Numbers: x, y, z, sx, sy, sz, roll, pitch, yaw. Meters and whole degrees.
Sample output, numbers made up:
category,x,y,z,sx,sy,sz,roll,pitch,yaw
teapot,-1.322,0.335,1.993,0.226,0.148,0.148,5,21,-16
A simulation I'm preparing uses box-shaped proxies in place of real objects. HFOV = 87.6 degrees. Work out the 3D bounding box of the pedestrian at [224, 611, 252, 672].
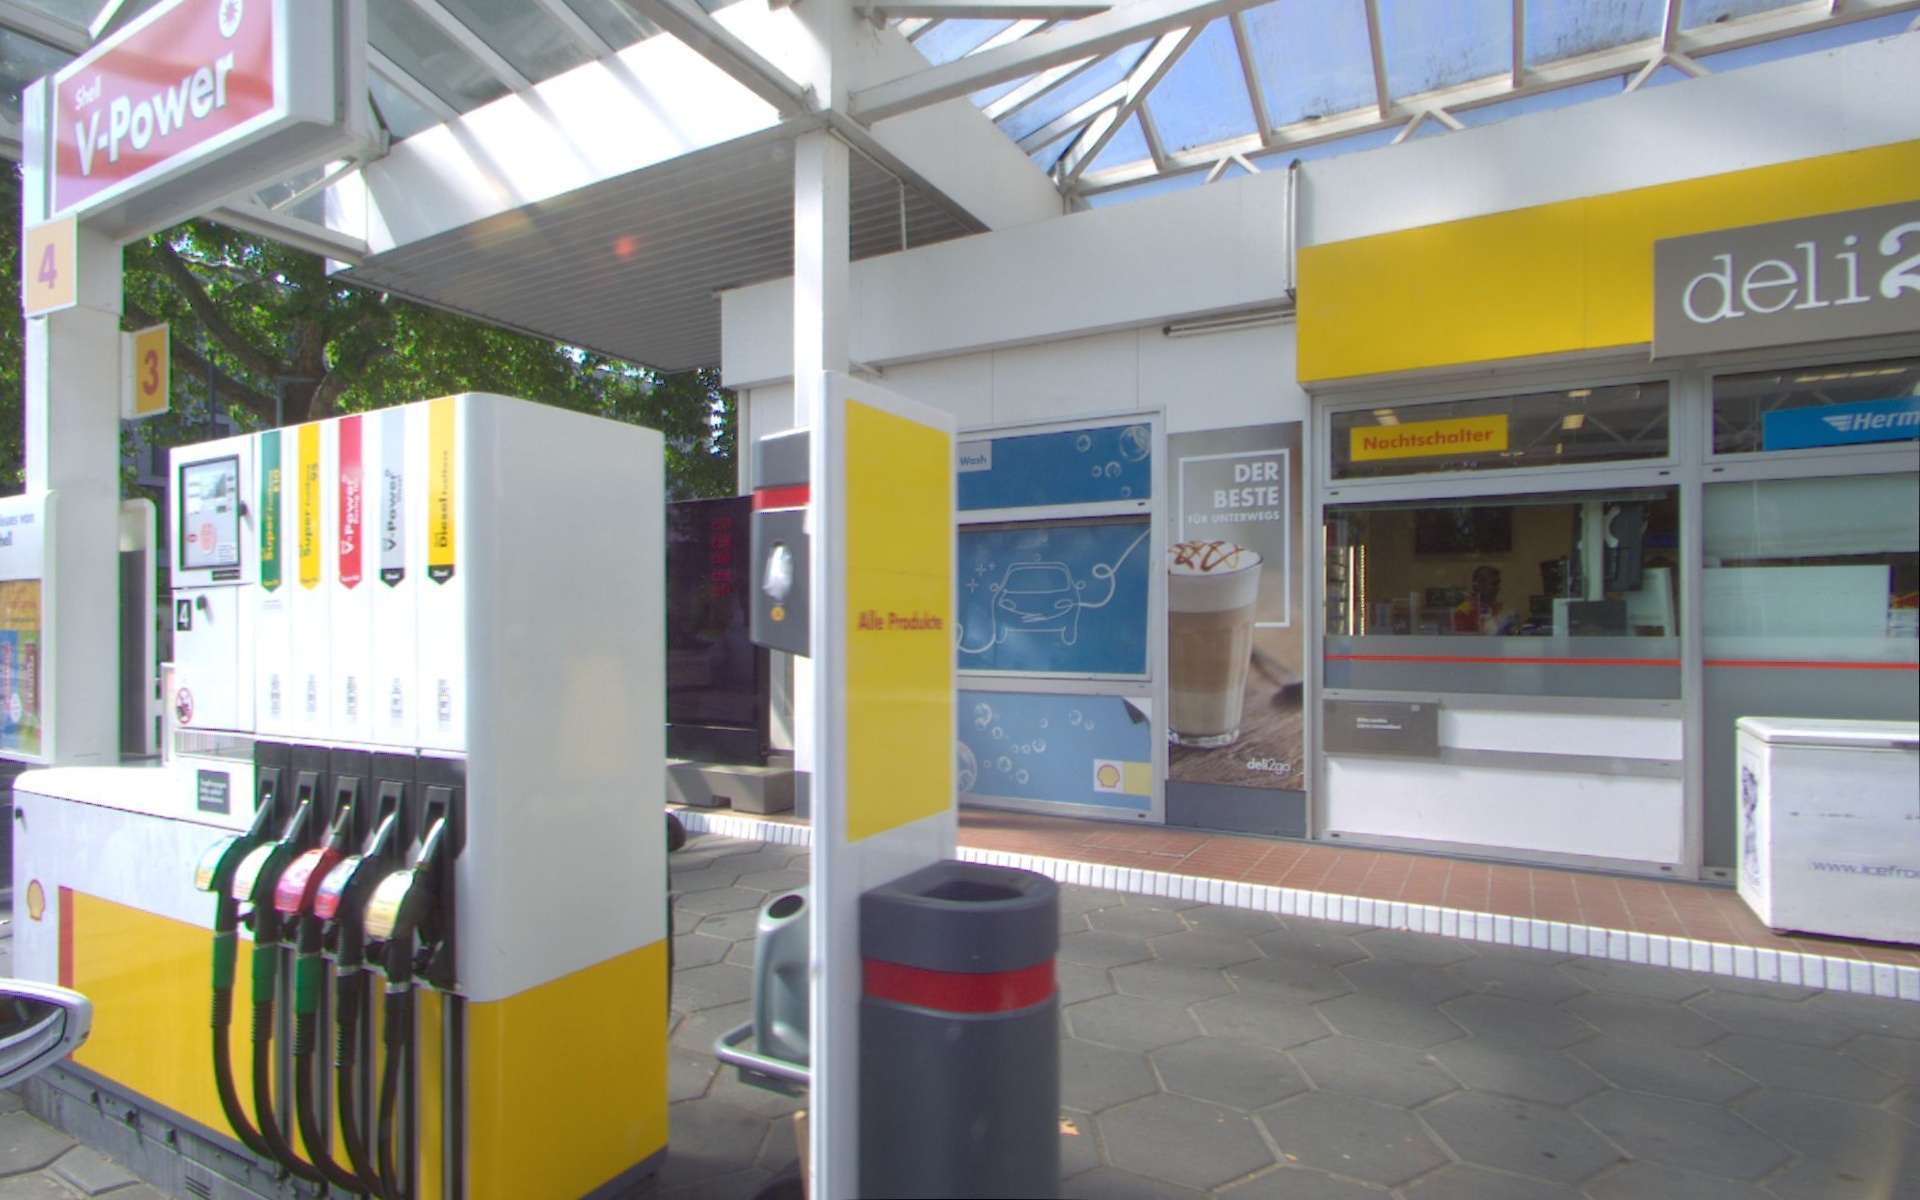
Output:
category,x,y,z,sx,sy,sz,roll,pitch,yaw
pedestrian,-21.013,1.198,29.156,0.516,1.758,0.498,0,-1,32

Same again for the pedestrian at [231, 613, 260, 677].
category,x,y,z,sx,sy,sz,roll,pitch,yaw
pedestrian,-19.975,1.244,28.012,0.516,1.758,0.498,0,-1,32

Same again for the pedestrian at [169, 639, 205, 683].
category,x,y,z,sx,sy,sz,roll,pitch,yaw
pedestrian,-20.747,1.624,26.880,0.517,1.152,0.626,0,-1,36

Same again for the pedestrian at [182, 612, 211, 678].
category,x,y,z,sx,sy,sz,roll,pitch,yaw
pedestrian,-20.681,1.211,27.130,0.400,1.758,0.498,0,-1,32

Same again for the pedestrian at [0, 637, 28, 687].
category,x,y,z,sx,sy,sz,roll,pitch,yaw
pedestrian,-22.459,1.464,23.690,0.517,1.152,0.497,0,-1,36
